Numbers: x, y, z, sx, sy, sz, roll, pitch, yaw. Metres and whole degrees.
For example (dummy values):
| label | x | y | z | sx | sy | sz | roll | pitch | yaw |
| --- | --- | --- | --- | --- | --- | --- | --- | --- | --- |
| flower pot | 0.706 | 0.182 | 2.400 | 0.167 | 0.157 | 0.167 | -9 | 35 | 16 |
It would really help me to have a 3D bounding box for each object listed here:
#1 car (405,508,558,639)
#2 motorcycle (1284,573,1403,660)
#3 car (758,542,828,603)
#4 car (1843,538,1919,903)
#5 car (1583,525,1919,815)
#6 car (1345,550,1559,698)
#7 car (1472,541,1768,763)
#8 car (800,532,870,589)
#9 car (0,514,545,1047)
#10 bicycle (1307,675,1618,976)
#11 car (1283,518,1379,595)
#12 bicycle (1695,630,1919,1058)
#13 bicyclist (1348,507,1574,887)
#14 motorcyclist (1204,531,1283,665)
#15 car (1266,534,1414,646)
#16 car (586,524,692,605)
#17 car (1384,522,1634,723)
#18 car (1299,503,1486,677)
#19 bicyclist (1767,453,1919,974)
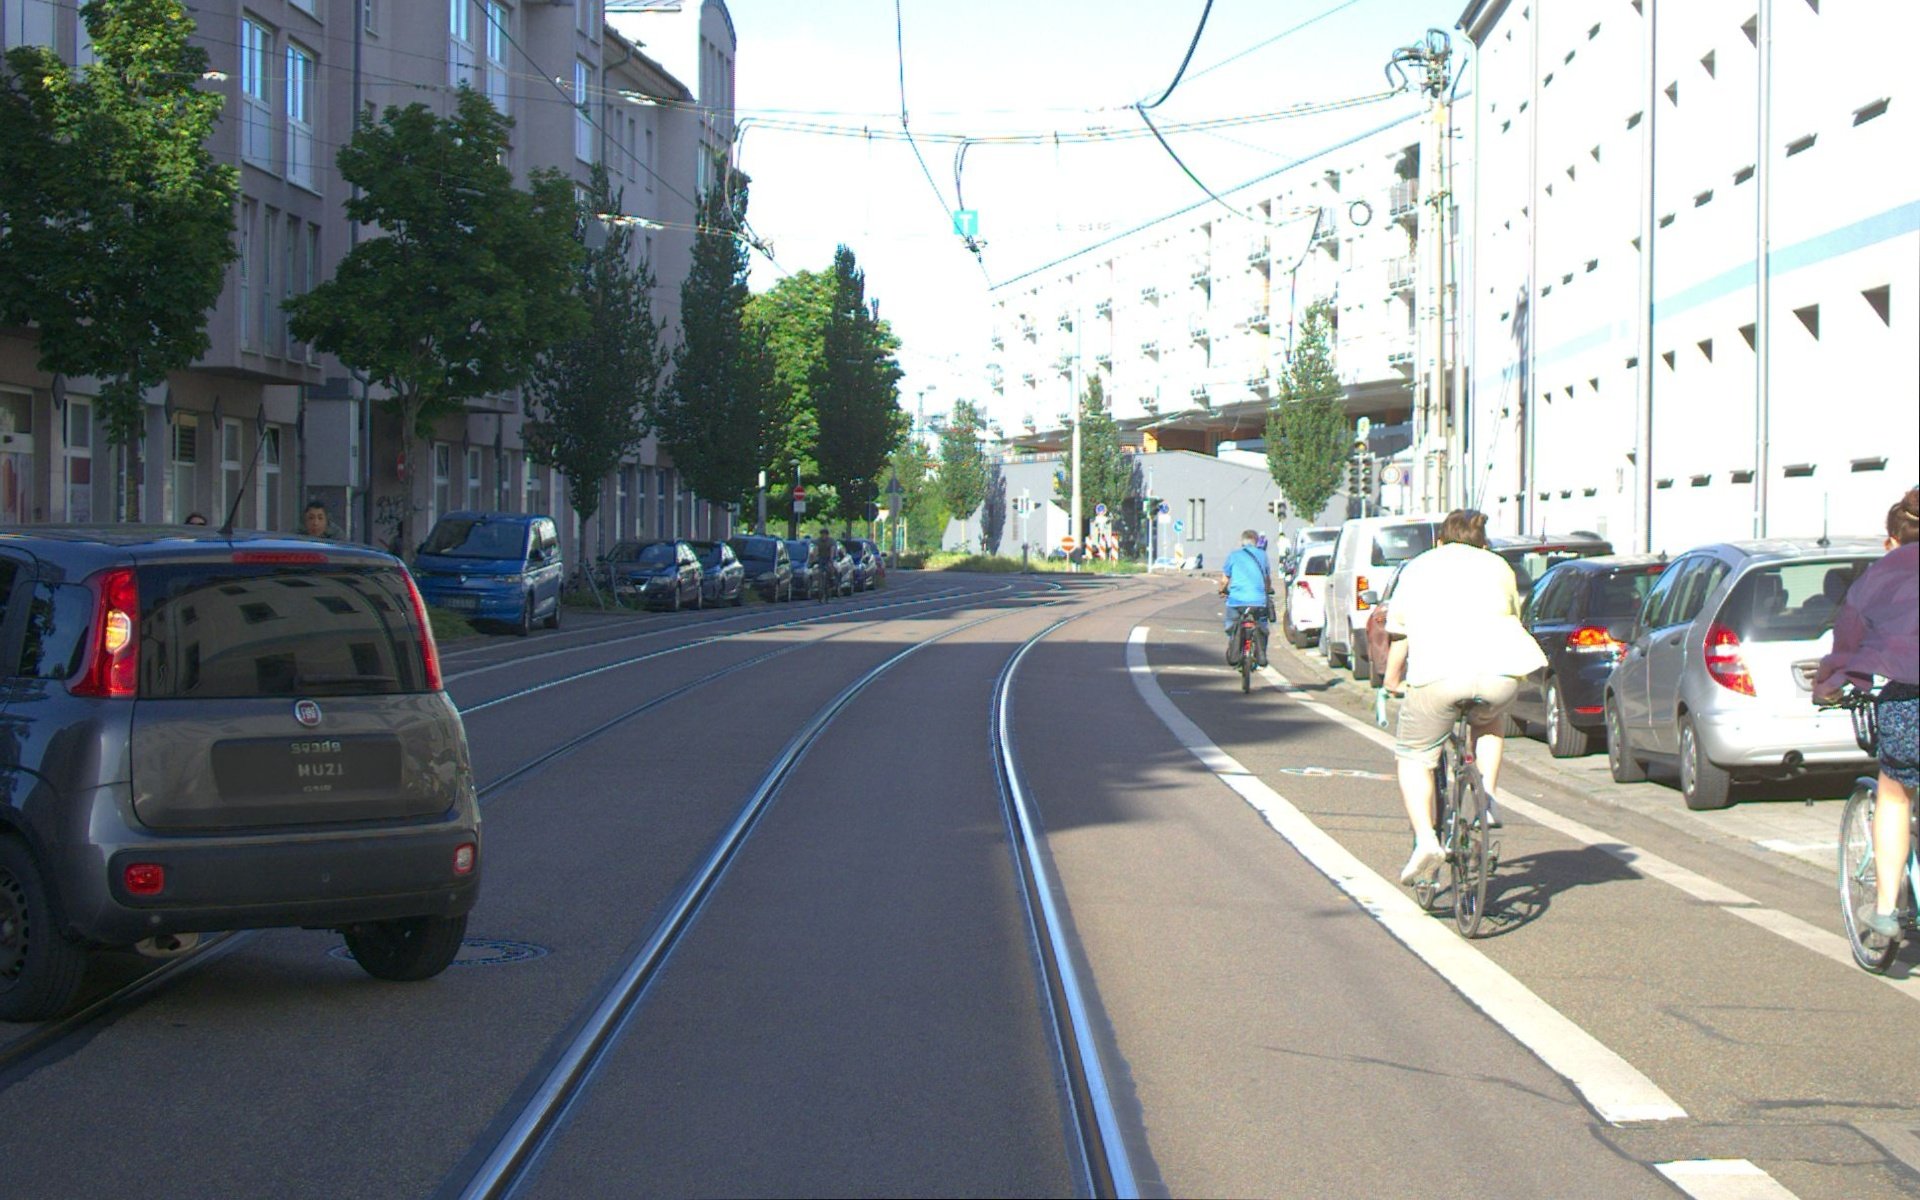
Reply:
| label | x | y | z | sx | sy | sz | roll | pitch | yaw |
| --- | --- | --- | --- | --- | --- | --- | --- | --- | --- |
| car | -7.544 | -0.454 | 54.544 | 1.665 | 1.980 | 4.343 | 1 | 1 | 2 |
| motorcycle | 5.247 | 0.218 | 47.137 | 0.490 | 1.140 | 1.770 | 0 | 1 | -39 |
| car | -4.313 | -0.721 | 89.150 | 1.591 | 1.535 | 3.191 | 0 | 1 | 1 |
| car | 4.969 | 0.533 | 13.768 | 1.679 | 1.565 | 4.510 | -1 | 1 | 0 |
| car | 5.128 | 0.357 | 21.535 | 1.754 | 1.565 | 3.904 | -3 | 1 | 1 |
| car | 5.218 | 0.214 | 36.860 | 1.796 | 1.478 | 3.779 | 0 | 1 | 1 |
| car | 5.027 | 0.339 | 26.635 | 1.591 | 1.532 | 4.007 | -2 | 1 | 2 |
| car | -3.625 | -1.171 | 100.339 | 1.844 | 1.640 | 3.697 | 0 | 1 | 1 |
| car | -3.098 | 0.500 | 11.662 | 1.557 | 1.528 | 3.485 | 2 | 0 | -43 |
| bicycle | 1.950 | 0.842 | 13.781 | 0.738 | 0.921 | 2.837 | 3 | 1 | -1 |
| car | 8.734 | -1.052 | 81.221 | 1.844 | 1.750 | 4.549 | 0 | 1 | 1 |
| bicycle | 3.225 | 0.771 | 11.751 | 0.821 | 1.232 | 2.462 | 2 | 1 | -1 |
| bicyclist | 1.983 | 0.362 | 13.733 | 0.727 | 1.457 | 1.021 | 0 | 1 | -1 |
| motorcyclist | 3.013 | -0.031 | 36.563 | 0.727 | 1.401 | 1.021 | 0 | 1 | -1 |
| car | 5.825 | -0.189 | 53.112 | 1.844 | 1.640 | 4.549 | 0 | 1 | 1 |
| car | -6.542 | -0.753 | 70.454 | 1.665 | 1.612 | 4.000 | 1 | 1 | 2 |
| car | 5.009 | 0.151 | 31.811 | 1.660 | 1.664 | 3.904 | -3 | 1 | 1 |
| car | 5.175 | -0.162 | 41.570 | 1.786 | 1.964 | 4.154 | -1 | 1 | 1 |
| bicyclist | 3.300 | 0.358 | 11.521 | 0.934 | 1.670 | 0.970 | 0 | 1 | -1 |
